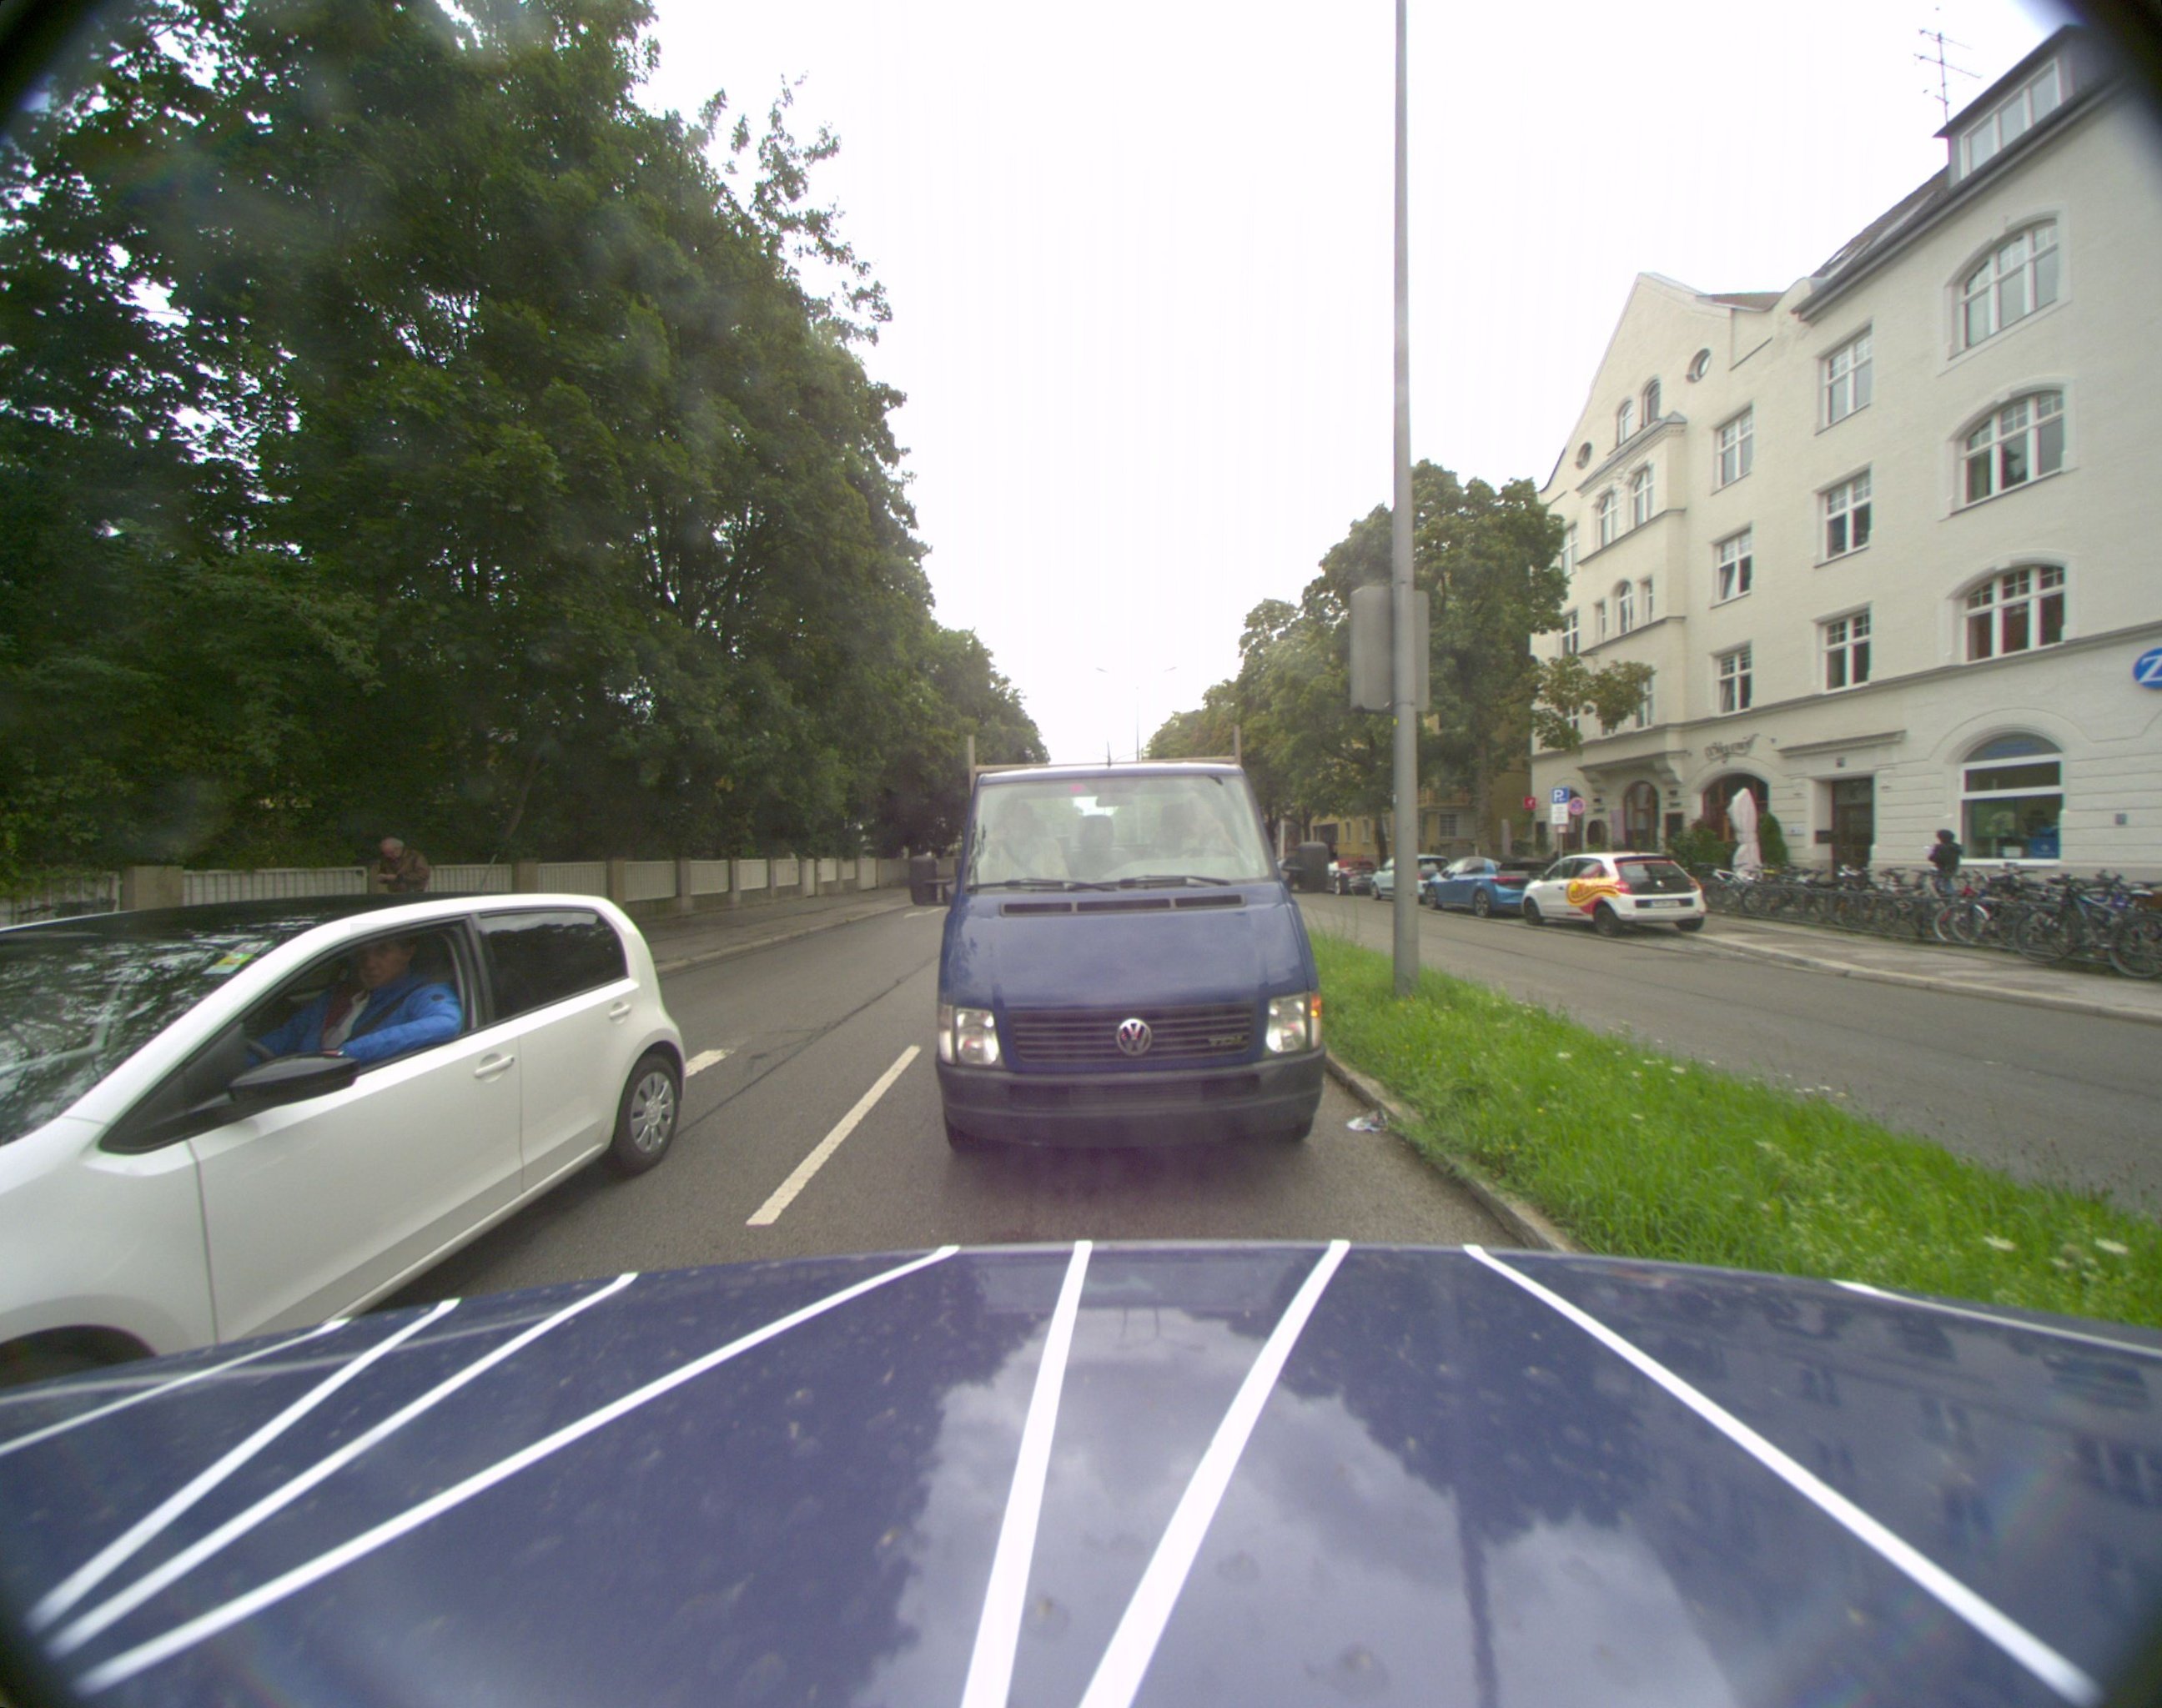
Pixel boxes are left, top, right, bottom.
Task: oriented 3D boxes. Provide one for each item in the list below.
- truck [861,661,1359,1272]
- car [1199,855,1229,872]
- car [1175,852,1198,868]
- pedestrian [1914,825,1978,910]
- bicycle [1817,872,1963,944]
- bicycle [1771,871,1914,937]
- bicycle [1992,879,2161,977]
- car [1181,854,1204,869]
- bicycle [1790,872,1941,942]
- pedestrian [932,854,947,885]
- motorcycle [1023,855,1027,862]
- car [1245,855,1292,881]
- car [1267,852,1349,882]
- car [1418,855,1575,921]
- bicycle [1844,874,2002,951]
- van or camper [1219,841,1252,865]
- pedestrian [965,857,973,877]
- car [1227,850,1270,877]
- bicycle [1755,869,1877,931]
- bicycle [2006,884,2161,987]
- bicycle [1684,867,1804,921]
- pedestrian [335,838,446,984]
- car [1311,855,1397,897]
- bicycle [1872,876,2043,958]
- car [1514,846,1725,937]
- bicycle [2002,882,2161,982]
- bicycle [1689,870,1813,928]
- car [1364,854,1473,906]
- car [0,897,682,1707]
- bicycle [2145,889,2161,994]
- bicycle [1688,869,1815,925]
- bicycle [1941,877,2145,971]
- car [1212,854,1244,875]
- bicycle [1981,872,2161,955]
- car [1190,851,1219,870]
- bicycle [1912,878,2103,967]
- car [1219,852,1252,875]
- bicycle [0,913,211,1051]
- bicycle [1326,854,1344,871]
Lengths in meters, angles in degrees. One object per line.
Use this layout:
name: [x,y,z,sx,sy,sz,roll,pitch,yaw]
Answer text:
truck: [0.160,0.462,5.682,1.998,2.475,5.151,-1,0,1]
car: [11.133,0.780,63.898,1.731,1.398,4.363,-1,0,1]
car: [11.219,0.624,80.905,1.878,1.677,4.438,-1,0,1]
pedestrian: [17.088,0.258,15.030,0.422,1.622,0.783,-1,1,7]
bicycle: [13.624,0.873,12.855,0.331,1.109,1.678,-1,0,-23]
bicycle: [14.007,0.881,14.047,0.331,1.109,1.871,-1,0,-23]
bicycle: [12.699,0.896,9.483,0.367,1.109,1.678,-1,0,-23]
car: [11.098,0.740,75.719,1.696,1.446,4.492,-1,0,1]
bicycle: [13.820,0.898,13.468,0.331,1.109,1.871,-1,0,-23]
pedestrian: [-7.854,0.851,42.299,0.668,1.695,0.766,1,1,0]
motorcycle: [-8.923,0.717,121.525,0.497,1.135,1.631,-1,0,-10]
car: [10.983,0.772,44.862,1.731,1.394,4.404,-1,0,1]
car: [12.292,0.665,41.362,3.899,1.455,1.732,-2,0,-1]
car: [10.699,0.807,19.990,1.815,1.498,4.291,-1,0,1]
bicycle: [13.446,0.898,12.197,0.331,1.109,1.678,-1,0,-23]
van or camper: [17.181,-0.133,84.915,2.351,2.564,6.851,-1,0,1]
pedestrian: [-8.686,1.012,58.997,0.529,1.572,0.729,1,1,0]
car: [11.110,0.595,50.624,1.815,1.718,4.767,-1,0,1]
bicycle: [14.211,0.863,14.749,0.331,1.109,1.677,-1,0,-27]
bicycle: [12.105,0.933,8.835,0.368,1.109,1.678,-1,0,-23]
bicycle: [14.696,0.851,16.900,0.460,1.109,1.961,-1,0,-31]
pedestrian: [-9.477,0.757,10.464,0.779,1.931,0.802,0,1,1]
car: [10.780,0.823,30.402,1.815,1.498,4.645,-1,0,1]
bicycle: [13.219,0.913,11.523,0.331,1.109,1.678,-1,0,-23]
car: [10.579,0.655,15.298,1.653,1.576,3.790,-1,0,2]
bicycle: [12.410,0.920,9.130,0.331,1.109,1.678,-1,0,-23]
bicycle: [14.022,0.910,15.958,0.550,1.109,1.877,-1,0,-31]
car: [10.887,0.780,24.800,1.815,1.498,3.960,-1,0,1]
car: [-3.005,1.026,2.329,1.647,1.553,3.586,-1,0,0]
bicycle: [12.097,0.947,7.588,0.331,1.109,1.678,-1,0,-23]
bicycle: [14.395,0.884,16.384,0.505,1.109,1.984,-1,0,-31]
bicycle: [12.855,0.895,10.227,0.331,1.109,1.678,-1,0,-23]
car: [11.435,0.814,59.261,1.731,1.552,4.057,-1,0,1]
bicycle: [14.770,0.843,11.363,0.331,1.109,1.678,-1,0,-23]
car: [11.306,0.587,69.778,1.883,1.636,4.770,-1,0,1]
bicycle: [13.059,0.920,10.780,0.383,1.109,1.678,-1,0,-23]
car: [11.153,0.680,54.956,1.731,1.549,3.009,-1,0,-1]
bicycle: [-9.847,1.197,7.294,0.624,1.084,2.026,-1,0,0]
bicycle: [19.329,0.631,57.887,0.771,1.215,1.930,-1,0,0]
